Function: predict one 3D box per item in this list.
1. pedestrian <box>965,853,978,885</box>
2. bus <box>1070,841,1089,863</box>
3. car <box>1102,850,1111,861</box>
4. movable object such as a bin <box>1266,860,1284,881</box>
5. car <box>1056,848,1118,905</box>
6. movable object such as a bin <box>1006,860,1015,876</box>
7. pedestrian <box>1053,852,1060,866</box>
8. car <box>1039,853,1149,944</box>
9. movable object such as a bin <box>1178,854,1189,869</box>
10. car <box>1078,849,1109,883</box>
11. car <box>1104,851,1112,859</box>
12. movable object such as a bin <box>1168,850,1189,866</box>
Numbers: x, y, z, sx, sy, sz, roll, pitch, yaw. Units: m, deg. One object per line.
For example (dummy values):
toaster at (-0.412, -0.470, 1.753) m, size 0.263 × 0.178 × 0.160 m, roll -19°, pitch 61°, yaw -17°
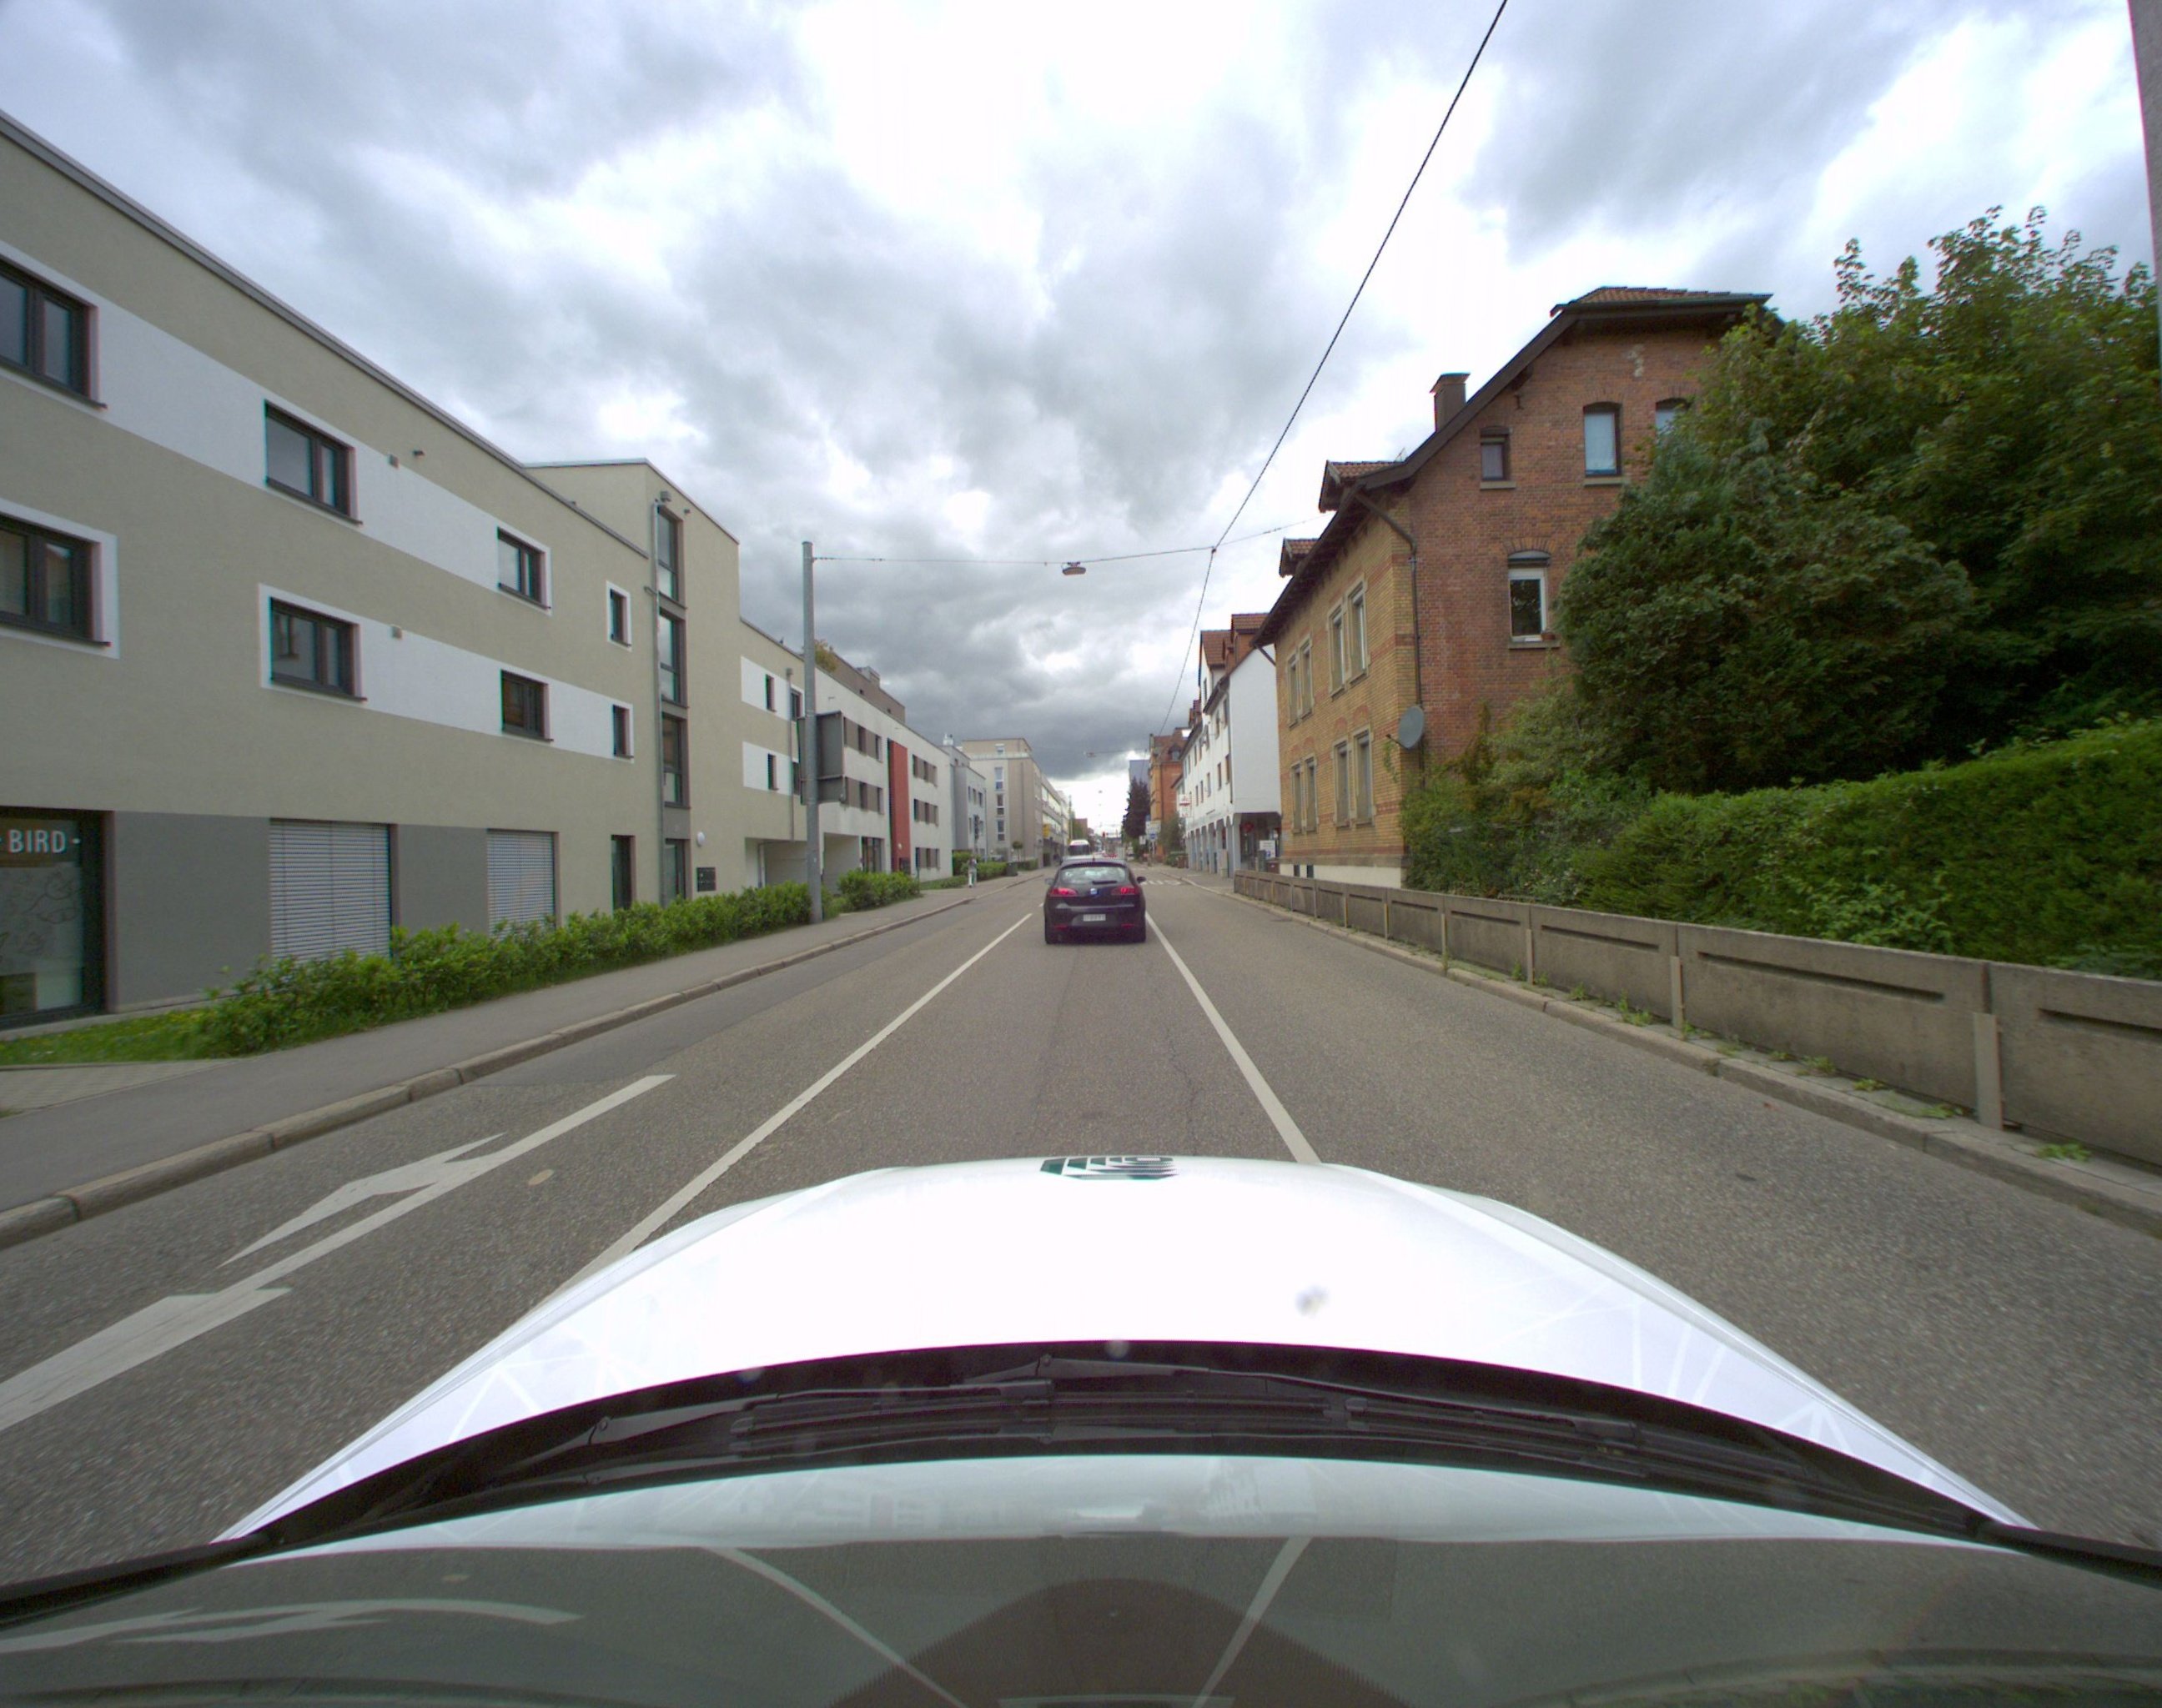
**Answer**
pedestrian at (-5.432, 0.753, 40.488) m, size 0.524 × 1.548 × 0.541 m, roll 0°, pitch -1°, yaw 1°
bus at (-0.135, -0.228, 108.159) m, size 2.202 × 2.886 × 8.923 m, roll 0°, pitch 0°, yaw 2°
car at (4.296, 0.271, 137.437) m, size 1.526 × 1.693 × 3.694 m, roll -2°, pitch 0°, yaw 1°
movable object such as a bin at (7.654, 0.645, 32.163) m, size 0.590 × 0.840 × 0.458 m, roll 0°, pitch -1°, yaw 1°
car at (0.227, 0.699, 26.442) m, size 1.836 × 1.693 × 4.001 m, roll 0°, pitch 0°, yaw 1°
movable object such as a bin at (-5.058, 0.989, 58.171) m, size 0.547 × 1.078 × 0.612 m, roll 0°, pitch -1°, yaw 2°
pedestrian at (-2.944, 0.584, 97.877) m, size 0.728 × 1.729 × 0.860 m, roll 0°, pitch -1°, yaw 1°
car at (0.276, 0.724, 15.066) m, size 1.752 × 1.442 × 4.001 m, roll 0°, pitch 0°, yaw 2°
movable object such as a bin at (8.883, 0.680, 70.546) m, size 0.925 × 1.283 × 0.883 m, roll 0°, pitch -1°, yaw 2°
car at (0.658, 0.607, 42.466) m, size 1.526 × 1.693 × 3.694 m, roll 0°, pitch 0°, yaw 1°
car at (5.422, 0.177, 163.752) m, size 1.526 × 1.693 × 3.694 m, roll -2°, pitch 0°, yaw 1°
movable object such as a bin at (8.980, 0.413, 74.933) m, size 1.810 × 1.437 × 1.994 m, roll 0°, pitch -1°, yaw 2°
